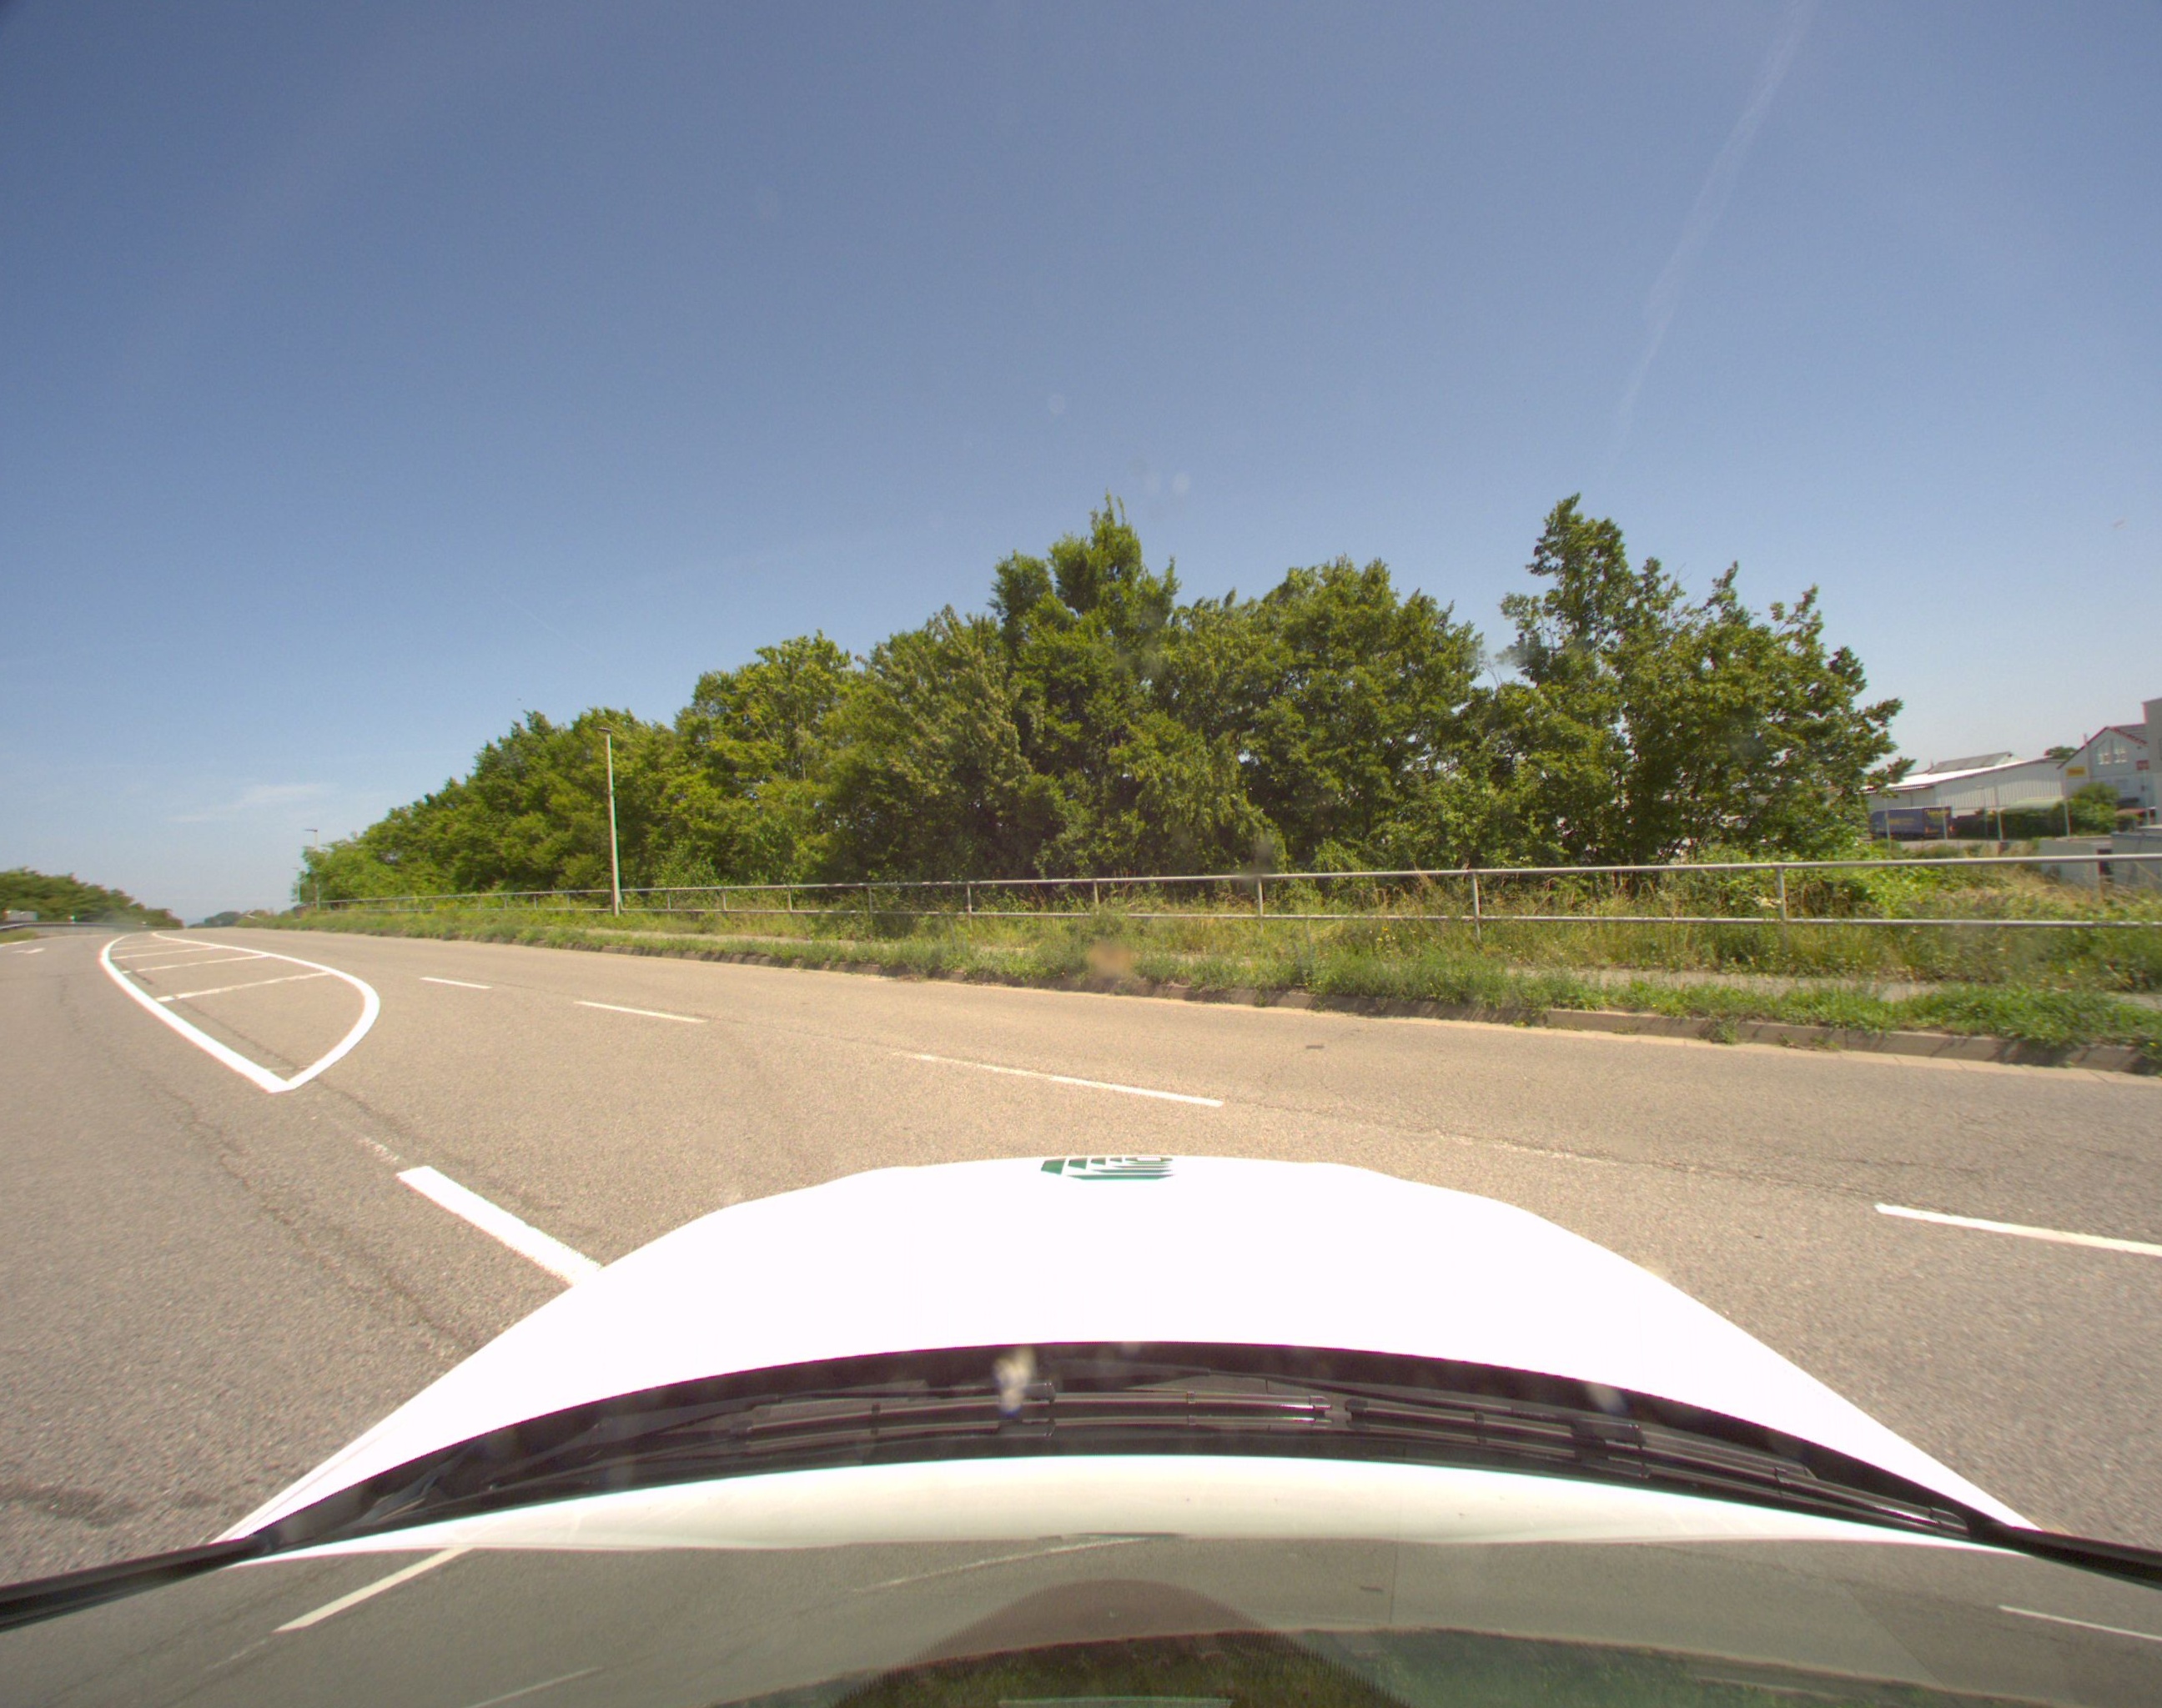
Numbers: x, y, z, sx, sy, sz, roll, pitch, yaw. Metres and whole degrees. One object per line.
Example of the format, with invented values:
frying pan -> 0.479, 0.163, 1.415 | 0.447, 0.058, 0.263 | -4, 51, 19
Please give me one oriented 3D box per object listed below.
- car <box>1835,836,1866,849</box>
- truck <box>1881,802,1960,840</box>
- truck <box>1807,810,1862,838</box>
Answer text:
car -> 90.716, -1.389, 96.053 | 1.667, 1.363, 3.860 | -6, -2, 30
truck -> 107.513, -4.124, 104.642 | 3.672, 4.310, 13.427 | -3, 0, 31
truck -> 124.724, -4.913, 135.059 | 3.379, 4.310, 14.685 | -3, 0, 30
